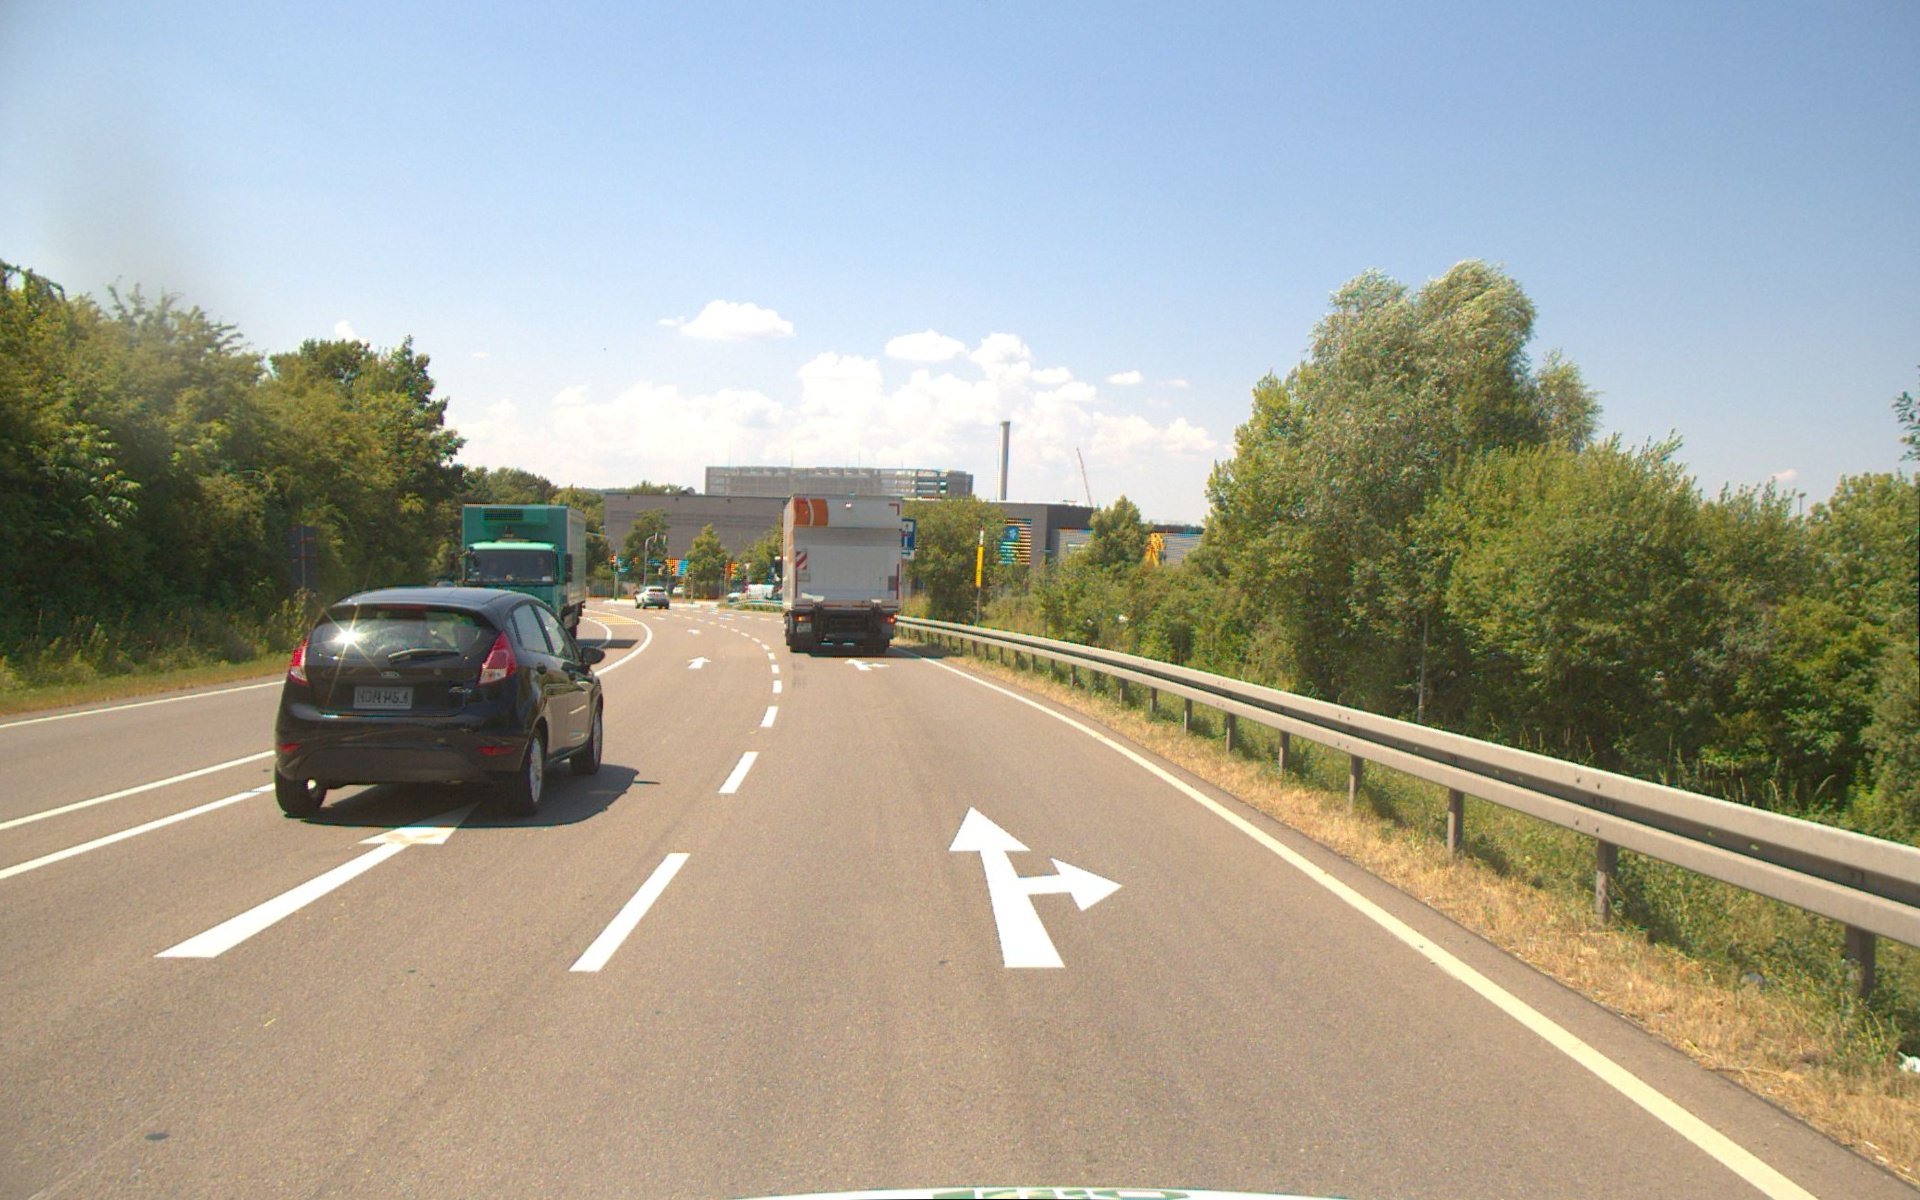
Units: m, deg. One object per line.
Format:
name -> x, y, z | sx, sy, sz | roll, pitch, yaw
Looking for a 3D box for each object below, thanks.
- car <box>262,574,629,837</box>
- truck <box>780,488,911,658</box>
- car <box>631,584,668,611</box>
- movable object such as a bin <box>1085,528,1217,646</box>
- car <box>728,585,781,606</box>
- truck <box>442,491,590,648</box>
car -> -3.568, 0.618, 12.229 | 1.620, 1.519, 4.205 | 2, 1, -4
truck -> -3.068, -0.682, 41.751 | 2.750, 3.775, 9.094 | 1, 1, -7
car -> -21.230, -0.200, 112.955 | 1.914, 1.693, 3.979 | 4, 0, -19
movable object such as a bin -> 9.493, -0.801, 83.613 | 3.367, 5.351, 9.197 | 3, 2, -14
car -> -19.511, -0.436, 156.934 | 4.645, 1.966, 2.155 | 1, 0, 4
truck -> -11.435, -0.750, 43.421 | 2.816, 3.636, 9.410 | 1, 0, -10
